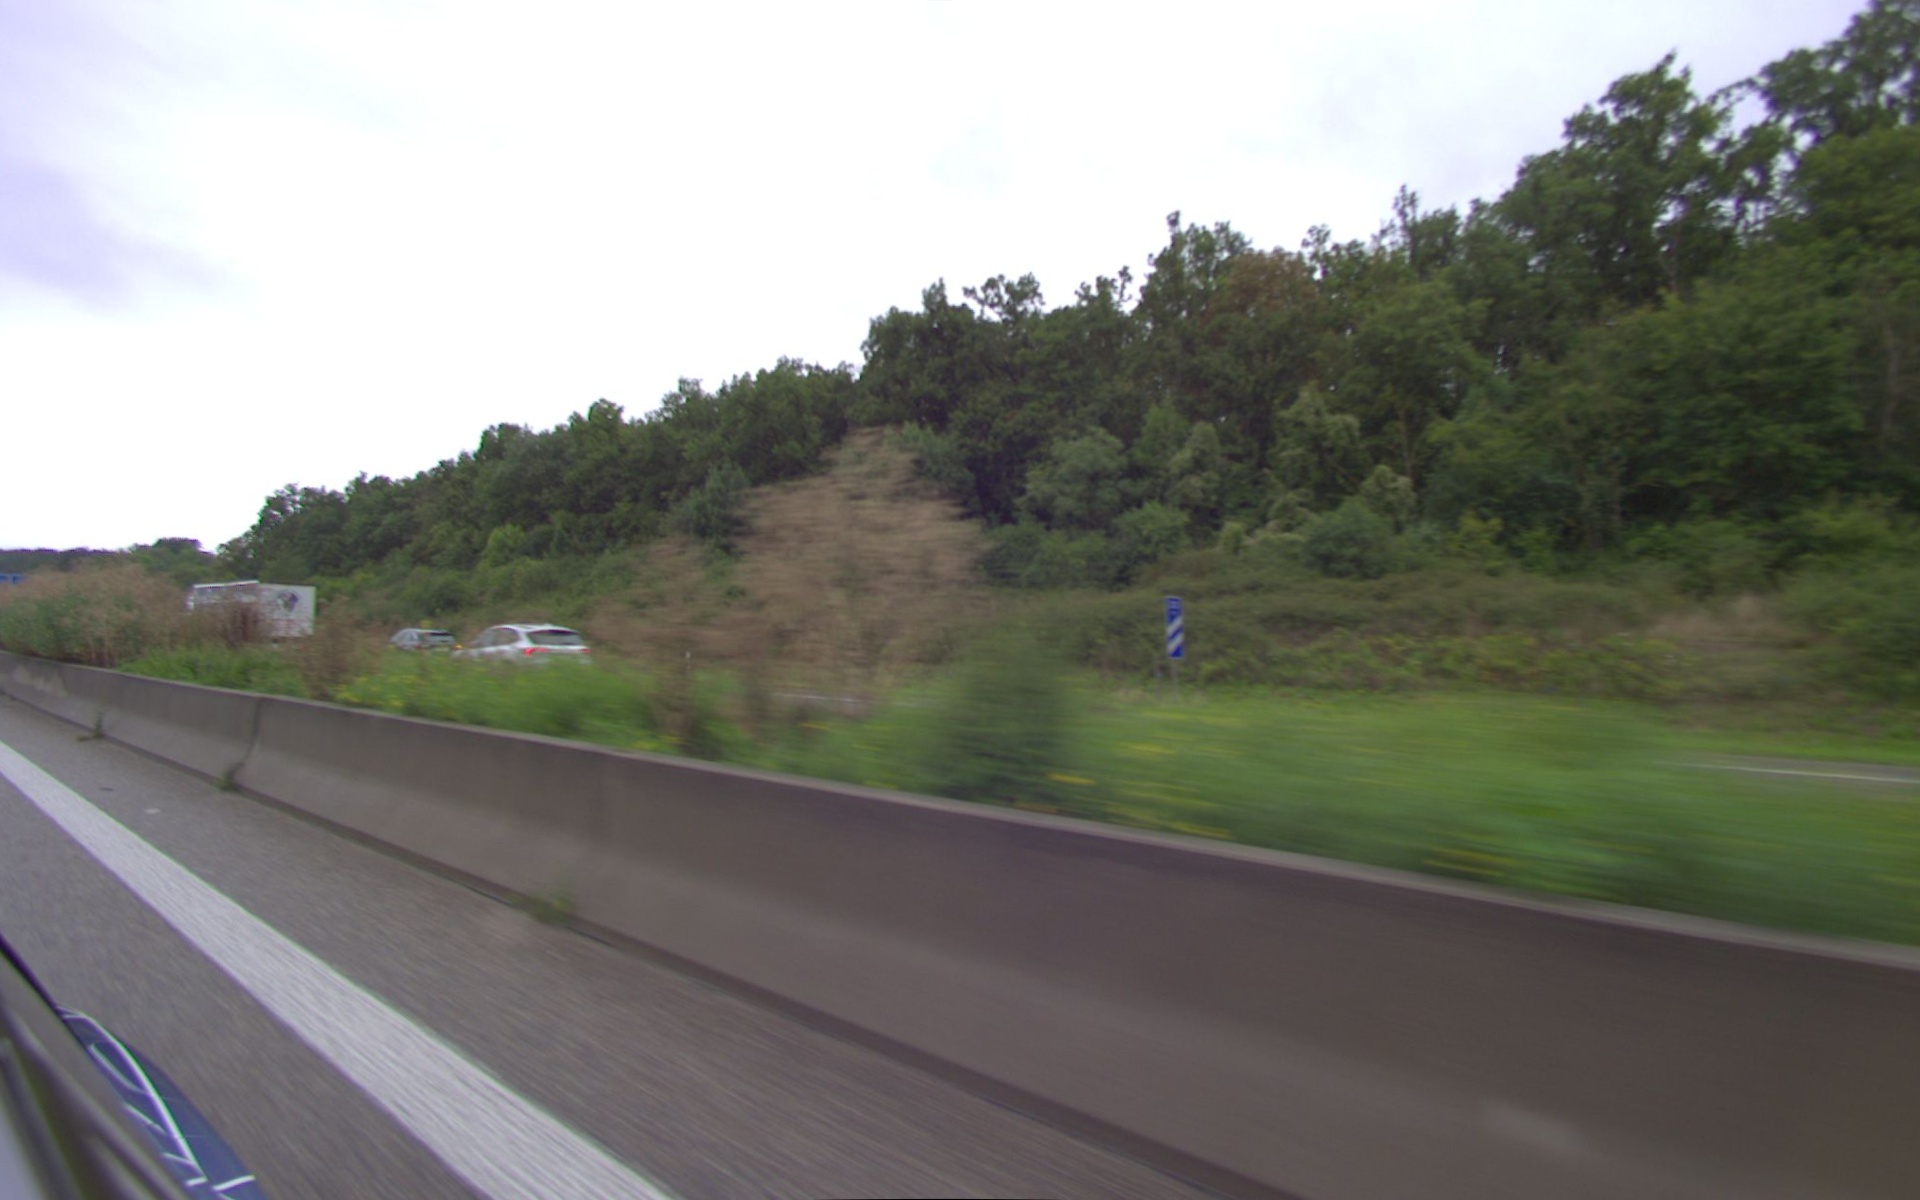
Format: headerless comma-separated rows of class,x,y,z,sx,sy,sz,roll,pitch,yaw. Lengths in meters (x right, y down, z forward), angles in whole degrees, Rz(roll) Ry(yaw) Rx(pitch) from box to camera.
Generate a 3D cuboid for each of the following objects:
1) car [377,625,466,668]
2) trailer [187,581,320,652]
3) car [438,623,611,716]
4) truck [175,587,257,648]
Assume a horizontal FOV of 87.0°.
car,-21.101,1.780,39.582,3.998,1.614,1.757,-1,-2,41
trailer,-38.985,0.952,55.511,13.251,3.512,2.956,-1,-2,42
car,-10.502,1.573,24.264,4.653,2.029,1.973,-1,-2,41
truck,-44.360,1.056,60.305,4.768,3.494,2.960,-1,-2,42
